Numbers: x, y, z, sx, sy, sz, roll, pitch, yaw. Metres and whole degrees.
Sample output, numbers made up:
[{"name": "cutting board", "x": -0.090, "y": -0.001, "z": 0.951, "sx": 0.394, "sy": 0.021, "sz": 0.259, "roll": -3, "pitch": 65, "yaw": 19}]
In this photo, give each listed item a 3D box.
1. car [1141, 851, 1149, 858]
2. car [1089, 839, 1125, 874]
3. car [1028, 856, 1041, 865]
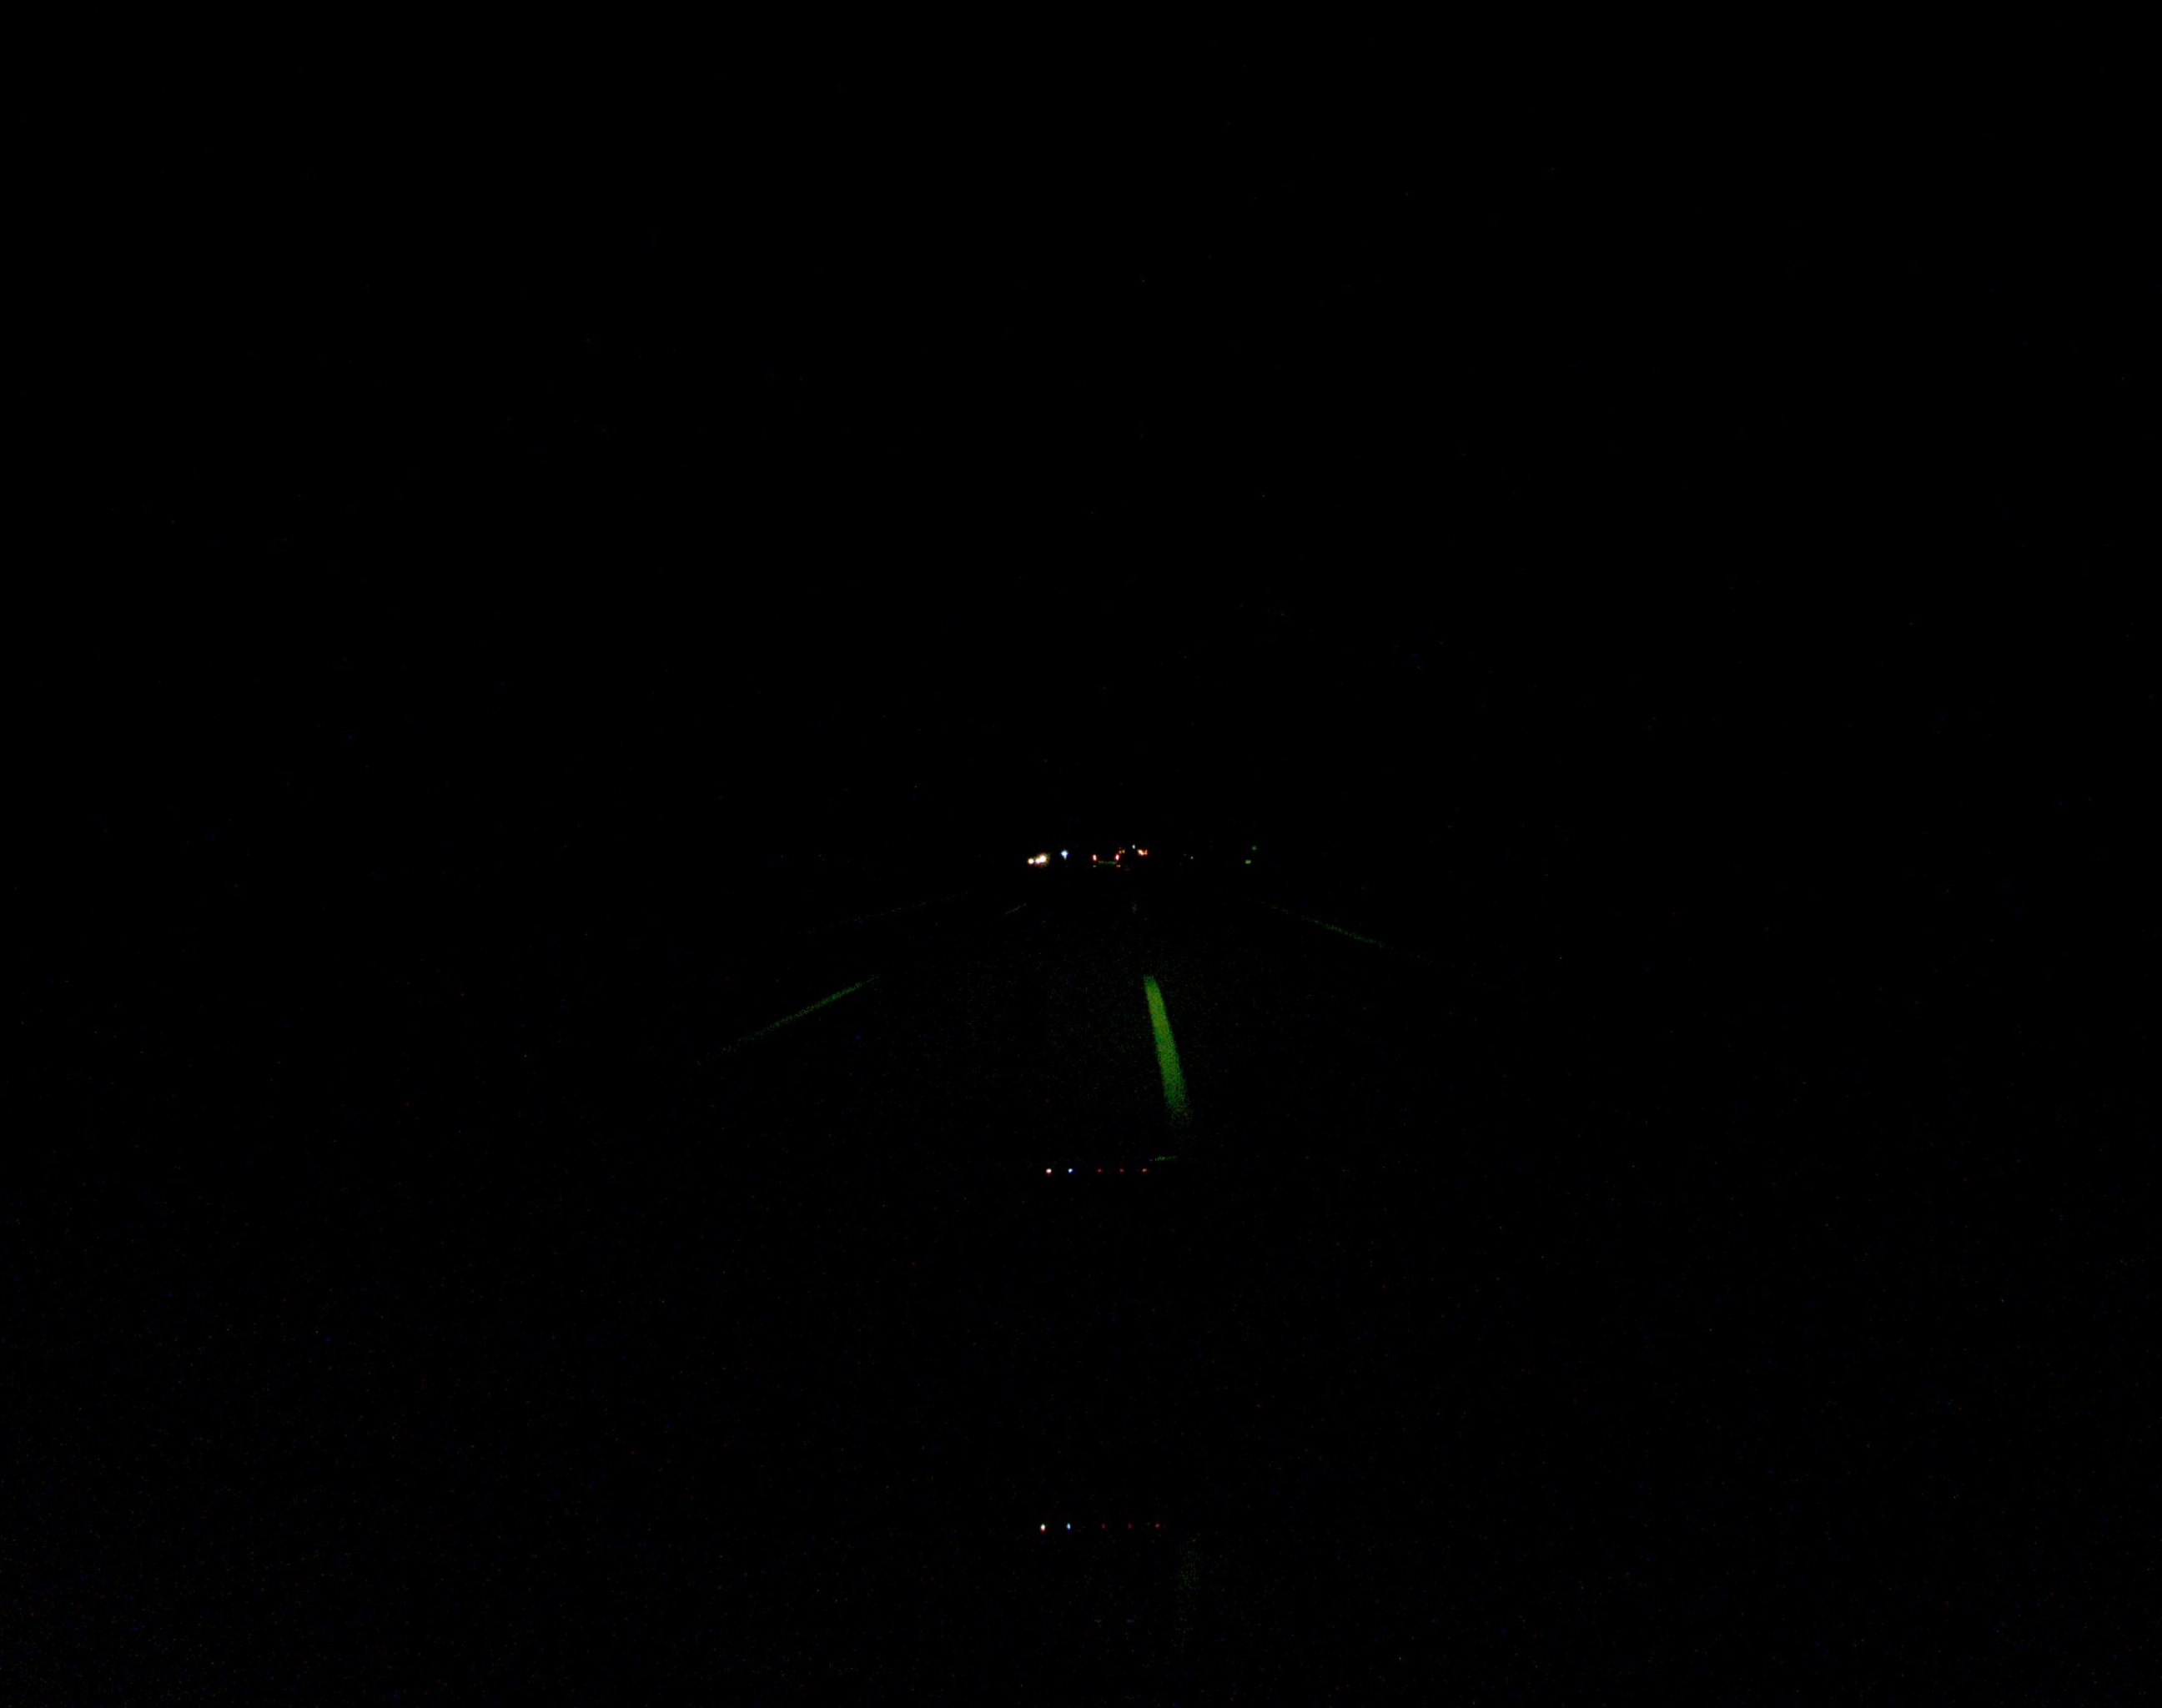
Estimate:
[{"name": "car", "x": 16.193, "y": 0.000, "z": 206.280, "sx": 1.836, "sy": 1.640, "sz": 4.002, "roll": -2, "pitch": 1, "yaw": 2}, {"name": "car", "x": 2.197, "y": 0.196, "z": 67.442, "sx": 2.775, "sy": 2.733, "sz": 6.303, "roll": -2, "pitch": 0, "yaw": 2}, {"name": "car", "x": -8.715, "y": 1.268, "z": 153.797, "sx": 1.925, "sy": 1.604, "sz": 4.957, "roll": -3, "pitch": 0, "yaw": 2}]
